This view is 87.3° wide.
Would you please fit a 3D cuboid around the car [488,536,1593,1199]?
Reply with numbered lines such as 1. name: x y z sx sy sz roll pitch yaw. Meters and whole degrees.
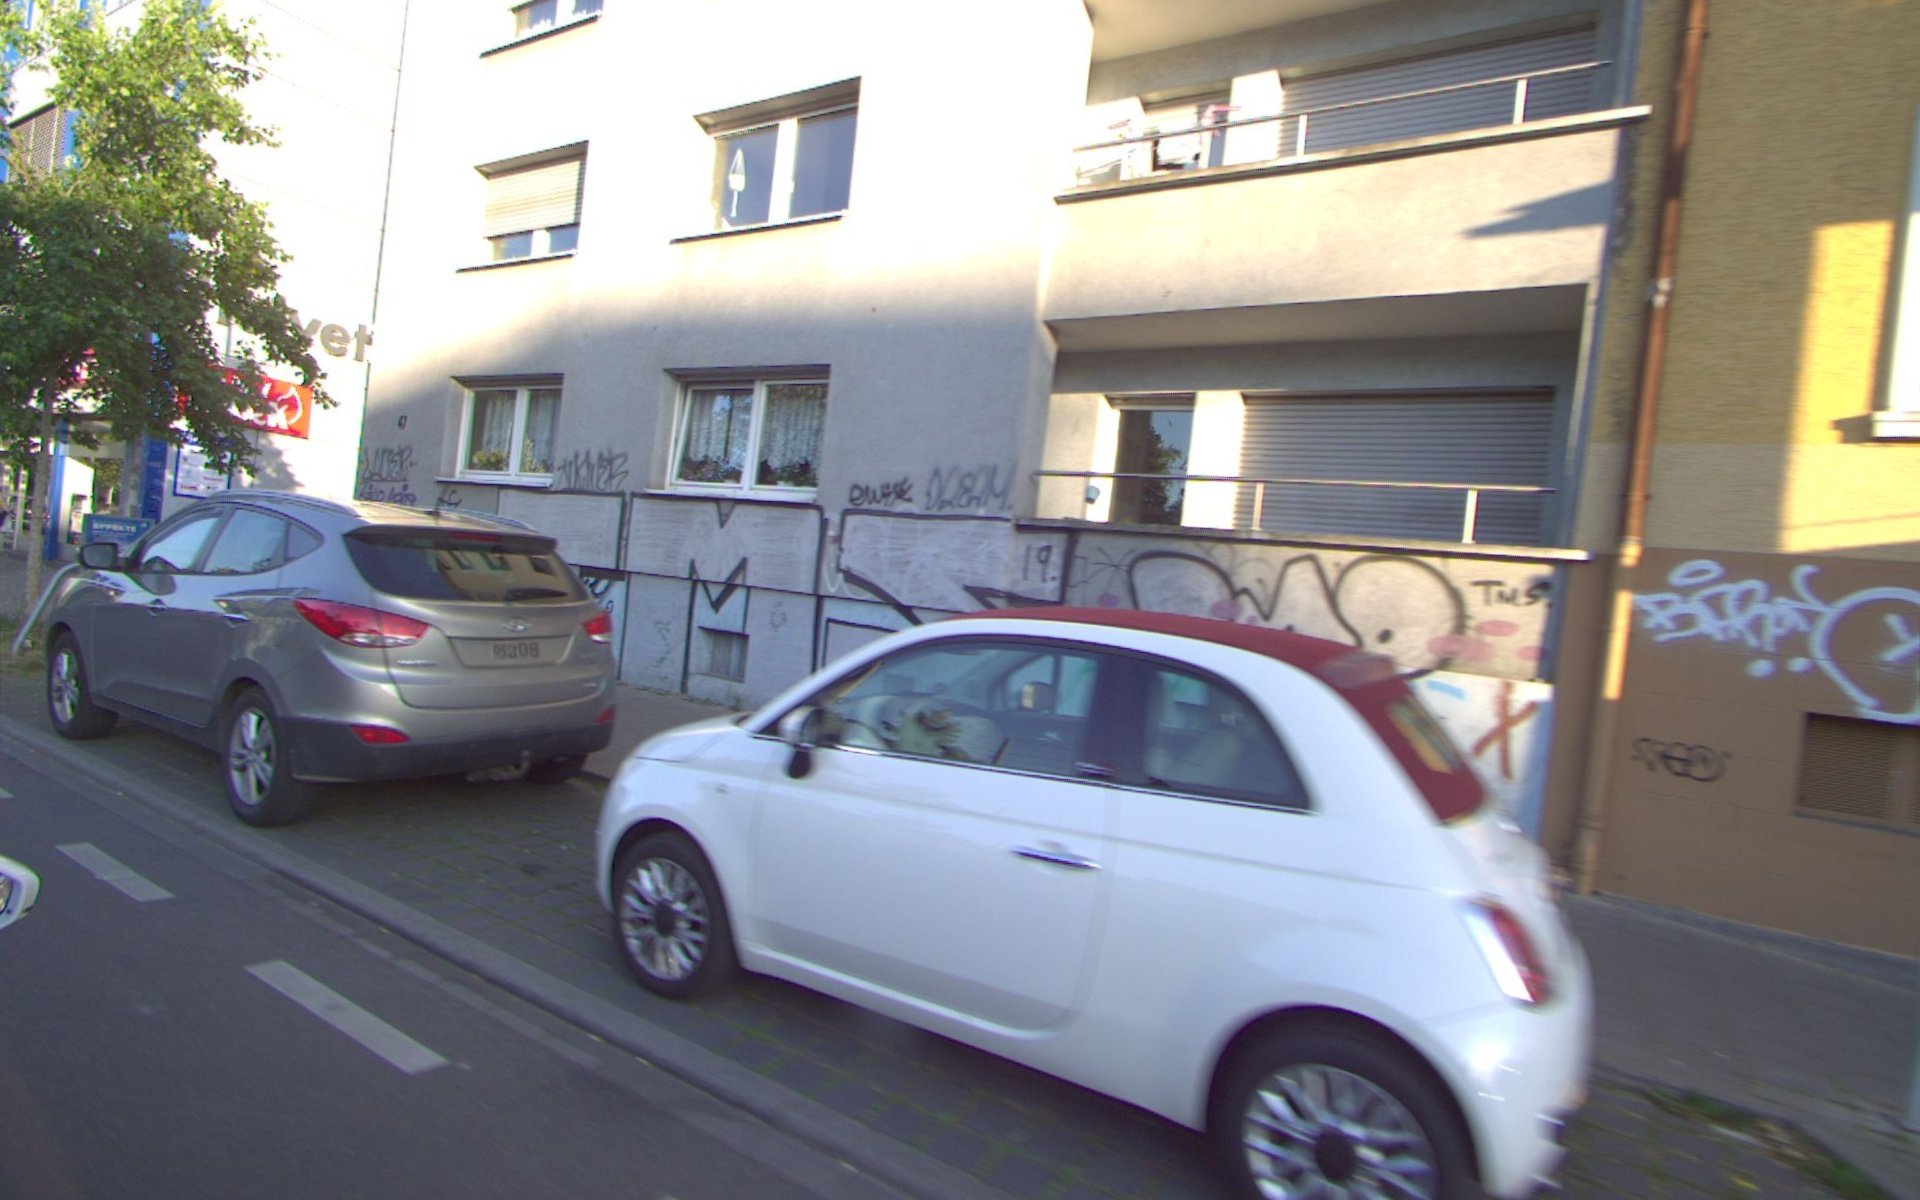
1. car: 0.138 0.692 3.737 3.541 1.539 1.669 6 3 30

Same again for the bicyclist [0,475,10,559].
1. bicyclist: -17.470 -1.516 17.959 0.612 1.496 0.558 6 3 30

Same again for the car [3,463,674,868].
1. car: -4.058 0.156 6.308 4.454 1.676 1.757 6 2 32

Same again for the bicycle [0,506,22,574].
1. bicycle: -17.502 -1.121 17.970 1.941 1.145 0.554 6 3 30
